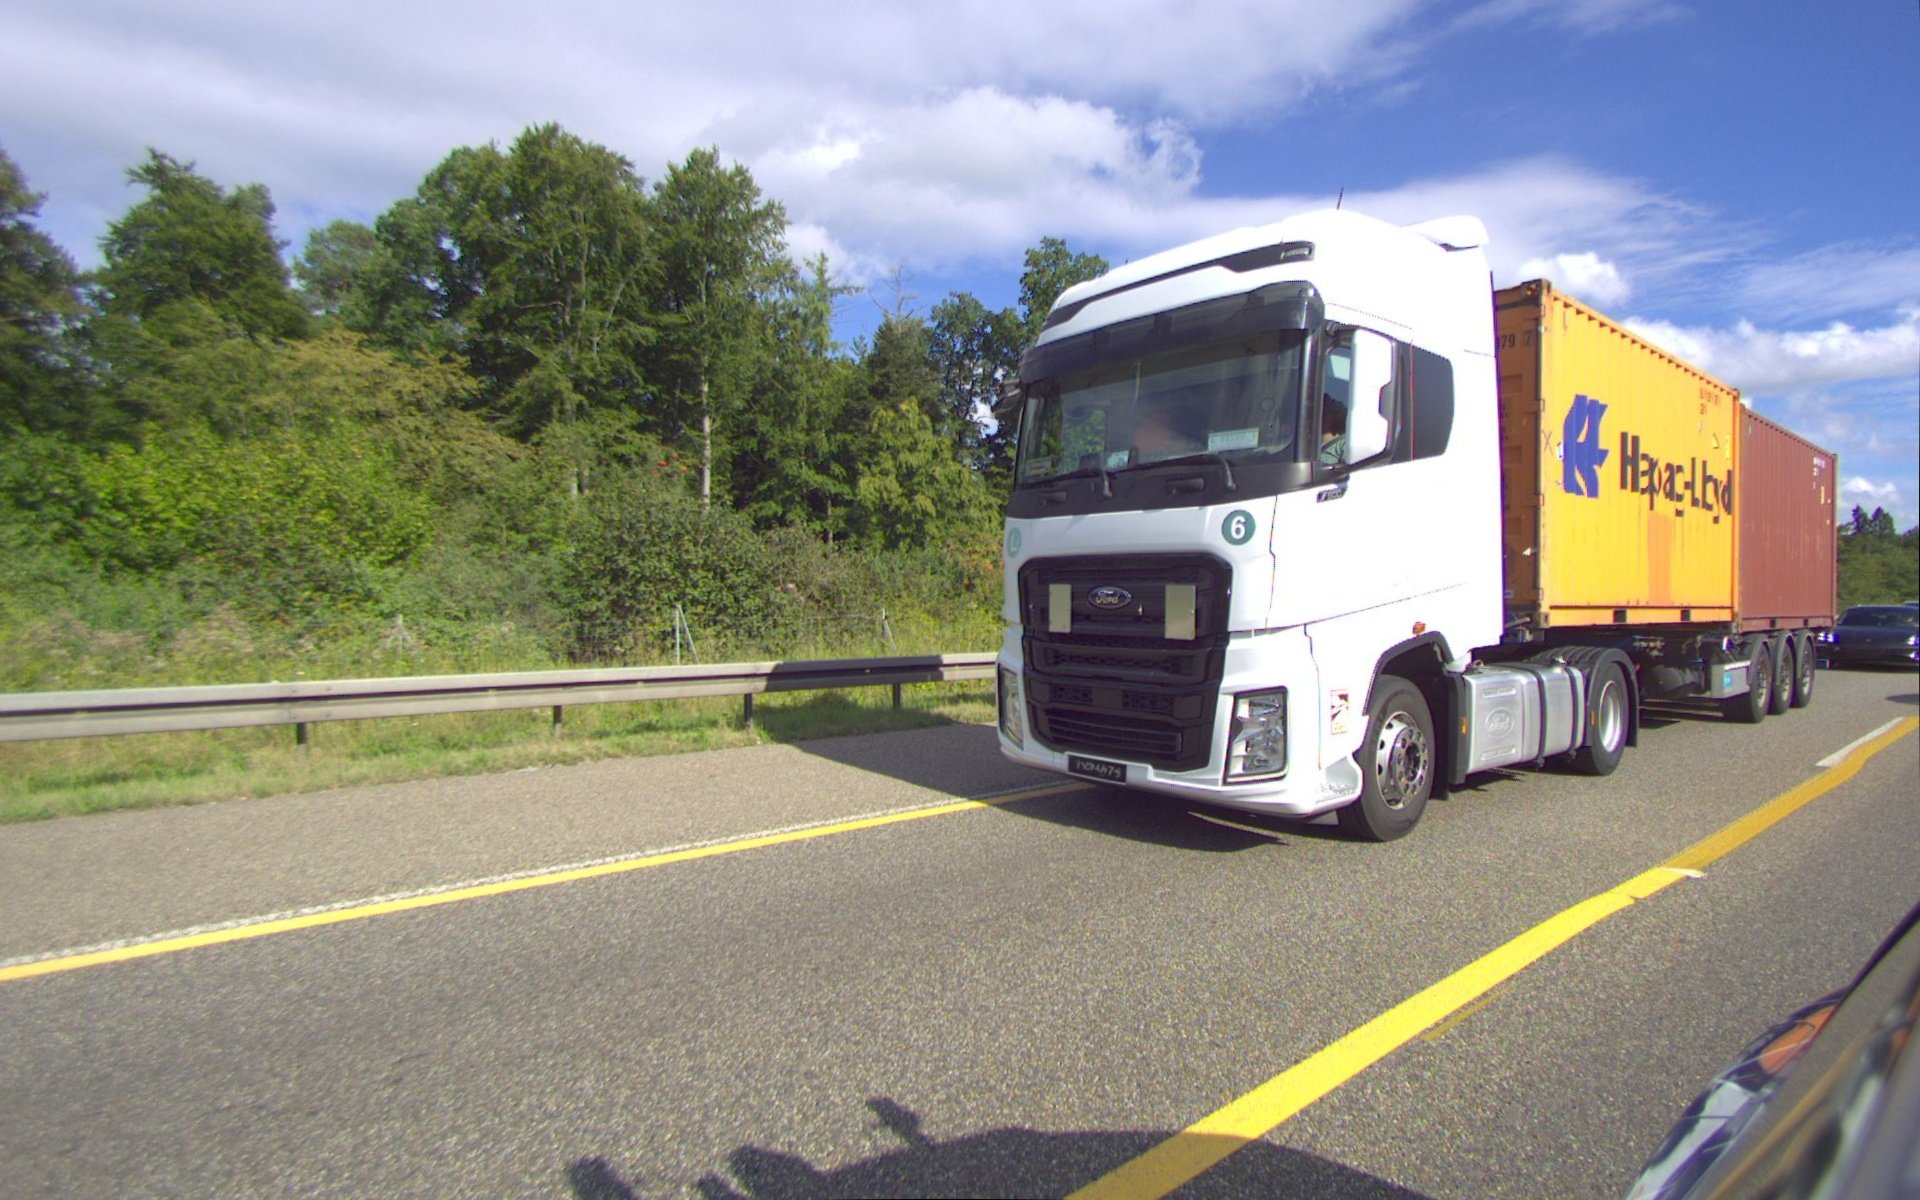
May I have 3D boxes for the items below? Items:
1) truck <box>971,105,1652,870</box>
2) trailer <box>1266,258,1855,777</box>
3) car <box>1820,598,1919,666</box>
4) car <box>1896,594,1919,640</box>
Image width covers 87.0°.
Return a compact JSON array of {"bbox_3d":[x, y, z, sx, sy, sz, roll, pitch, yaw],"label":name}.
[{"bbox_3d":[3.037,-0.592,7.878,5.688,3.828,2.499,0,0,-41],"label":"truck"},{"bbox_3d":[8.139,-0.634,12.278,11.922,3.822,2.476,0,0,-41],"label":"trailer"},{"bbox_3d":[20.771,0.649,22.439,4.399,1.367,1.932,0,0,-41],"label":"car"},{"bbox_3d":[33.714,0.567,34.843,3.898,1.498,1.761,-1,1,-40],"label":"car"}]
